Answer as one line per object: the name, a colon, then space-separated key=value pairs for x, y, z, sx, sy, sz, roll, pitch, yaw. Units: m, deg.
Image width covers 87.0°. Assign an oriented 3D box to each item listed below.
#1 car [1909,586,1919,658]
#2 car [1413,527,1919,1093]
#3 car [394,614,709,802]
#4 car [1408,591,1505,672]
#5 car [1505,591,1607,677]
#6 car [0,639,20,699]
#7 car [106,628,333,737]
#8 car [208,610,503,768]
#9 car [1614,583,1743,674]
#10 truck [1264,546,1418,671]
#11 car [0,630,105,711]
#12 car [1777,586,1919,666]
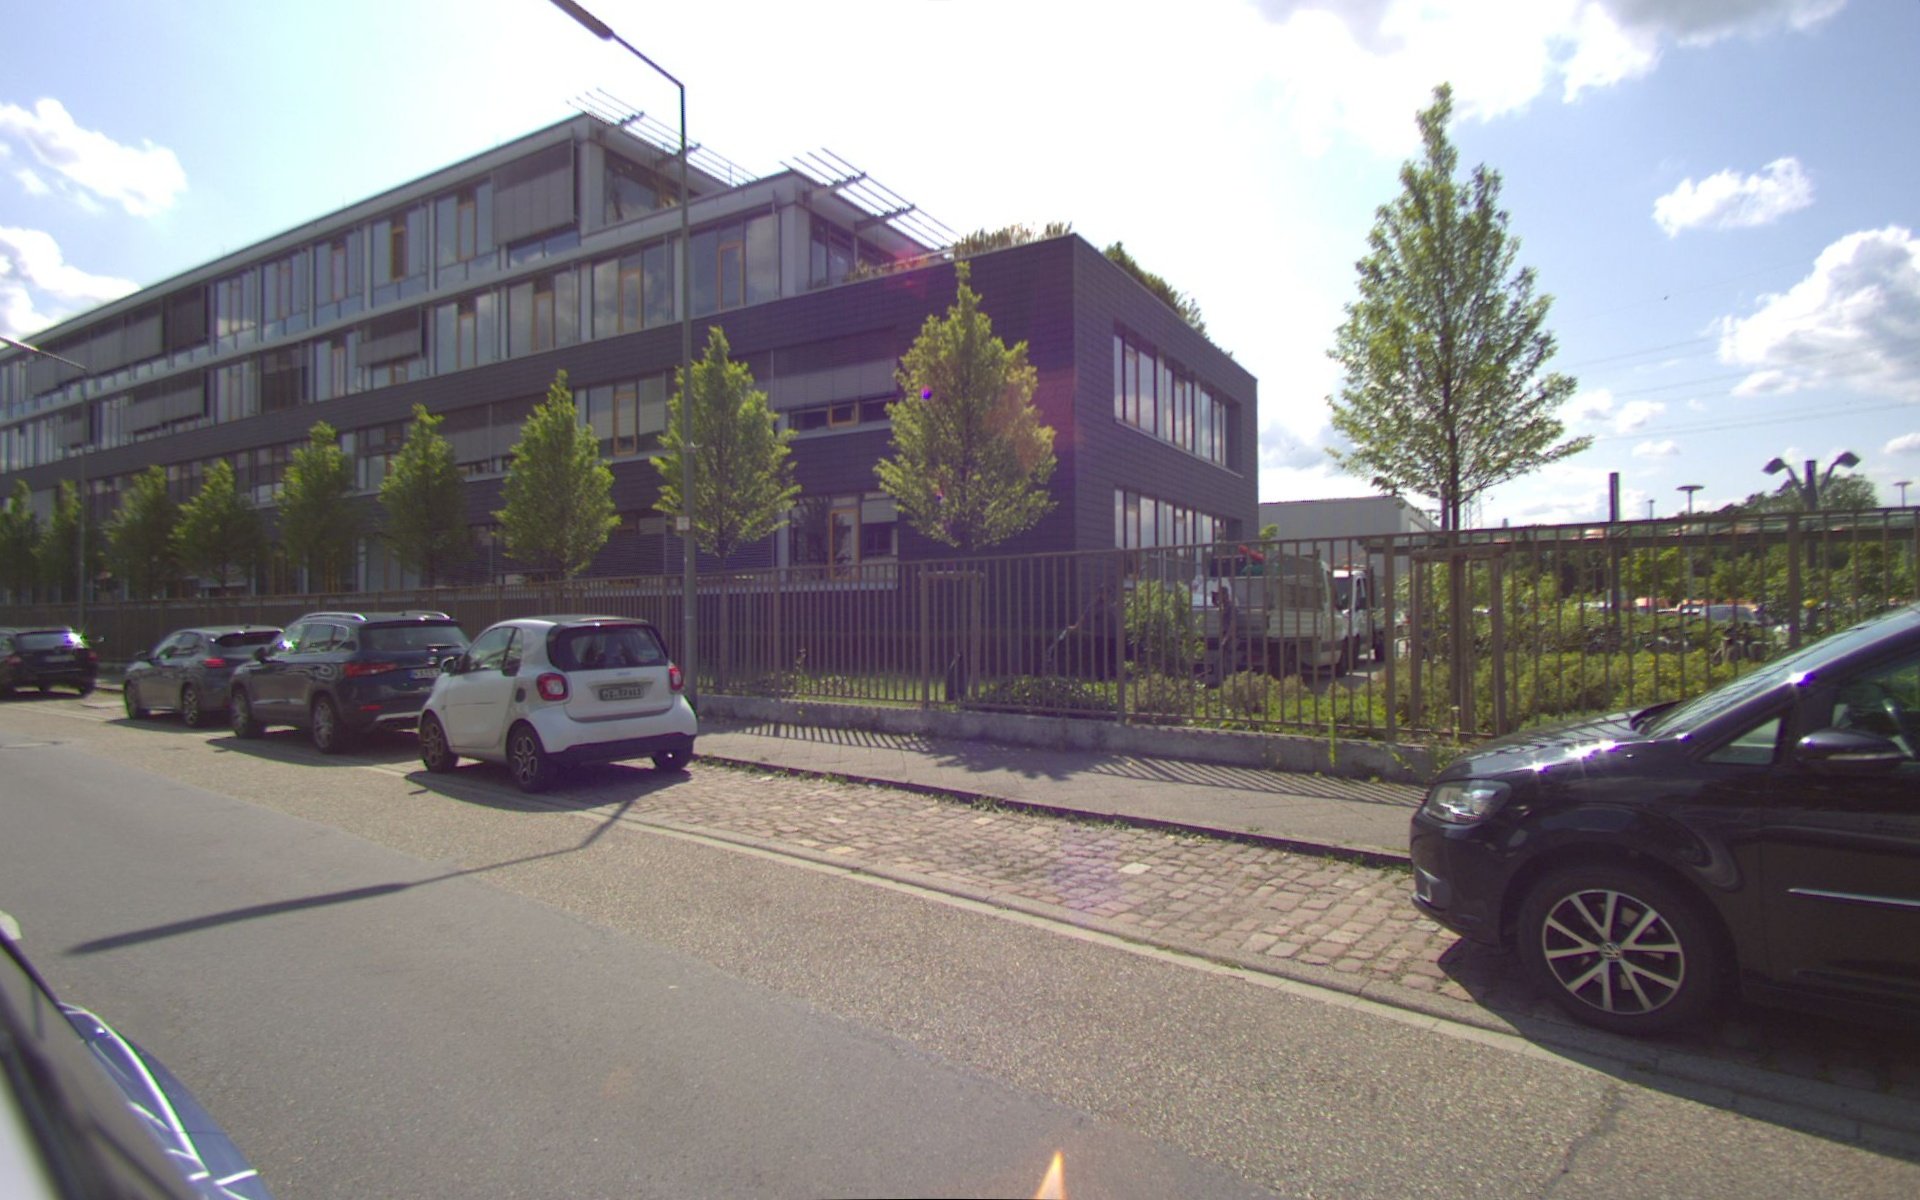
car: x=22.741 y=0.531 z=22.366 sx=1.742 sy=1.701 sz=3.958 roll=-2 pitch=0 yaw=31
car: x=3.952 y=0.597 z=3.223 sx=4.229 sy=1.695 sz=1.757 roll=-2 pitch=0 yaw=42
car: x=-4.081 y=0.933 z=9.972 sx=3.071 sy=1.534 sz=1.593 roll=-2 pitch=-1 yaw=39
car: x=11.496 y=0.660 z=23.311 sx=1.741 sy=1.701 sz=3.960 roll=-2 pitch=0 yaw=30
car: x=13.042 y=0.699 z=22.258 sx=1.741 sy=1.701 sz=3.959 roll=-2 pitch=-1 yaw=30
car: x=-24.780 y=1.681 z=24.697 sx=4.091 sy=1.407 sz=1.649 roll=-1 pitch=0 yaw=32
car: x=-11.778 y=1.222 z=16.025 sx=3.921 sy=1.456 sz=1.719 roll=-2 pitch=0 yaw=35
car: x=-7.738 y=1.006 z=12.805 sx=4.303 sy=1.668 sz=1.718 roll=-2 pitch=-1 yaw=37
car: x=14.904 y=0.600 z=21.186 sx=1.741 sy=1.701 sz=3.960 roll=-2 pitch=-2 yaw=29
truck: x=9.643 y=0.243 z=25.160 sx=2.396 sy=2.678 sz=6.862 roll=-2 pitch=-1 yaw=31
car: x=-20.298 y=1.478 z=21.849 sx=3.986 sy=1.542 sz=1.649 roll=-2 pitch=0 yaw=32
car: x=20.640 y=0.546 z=23.653 sx=1.741 sy=1.701 sz=3.960 roll=-2 pitch=0 yaw=30
